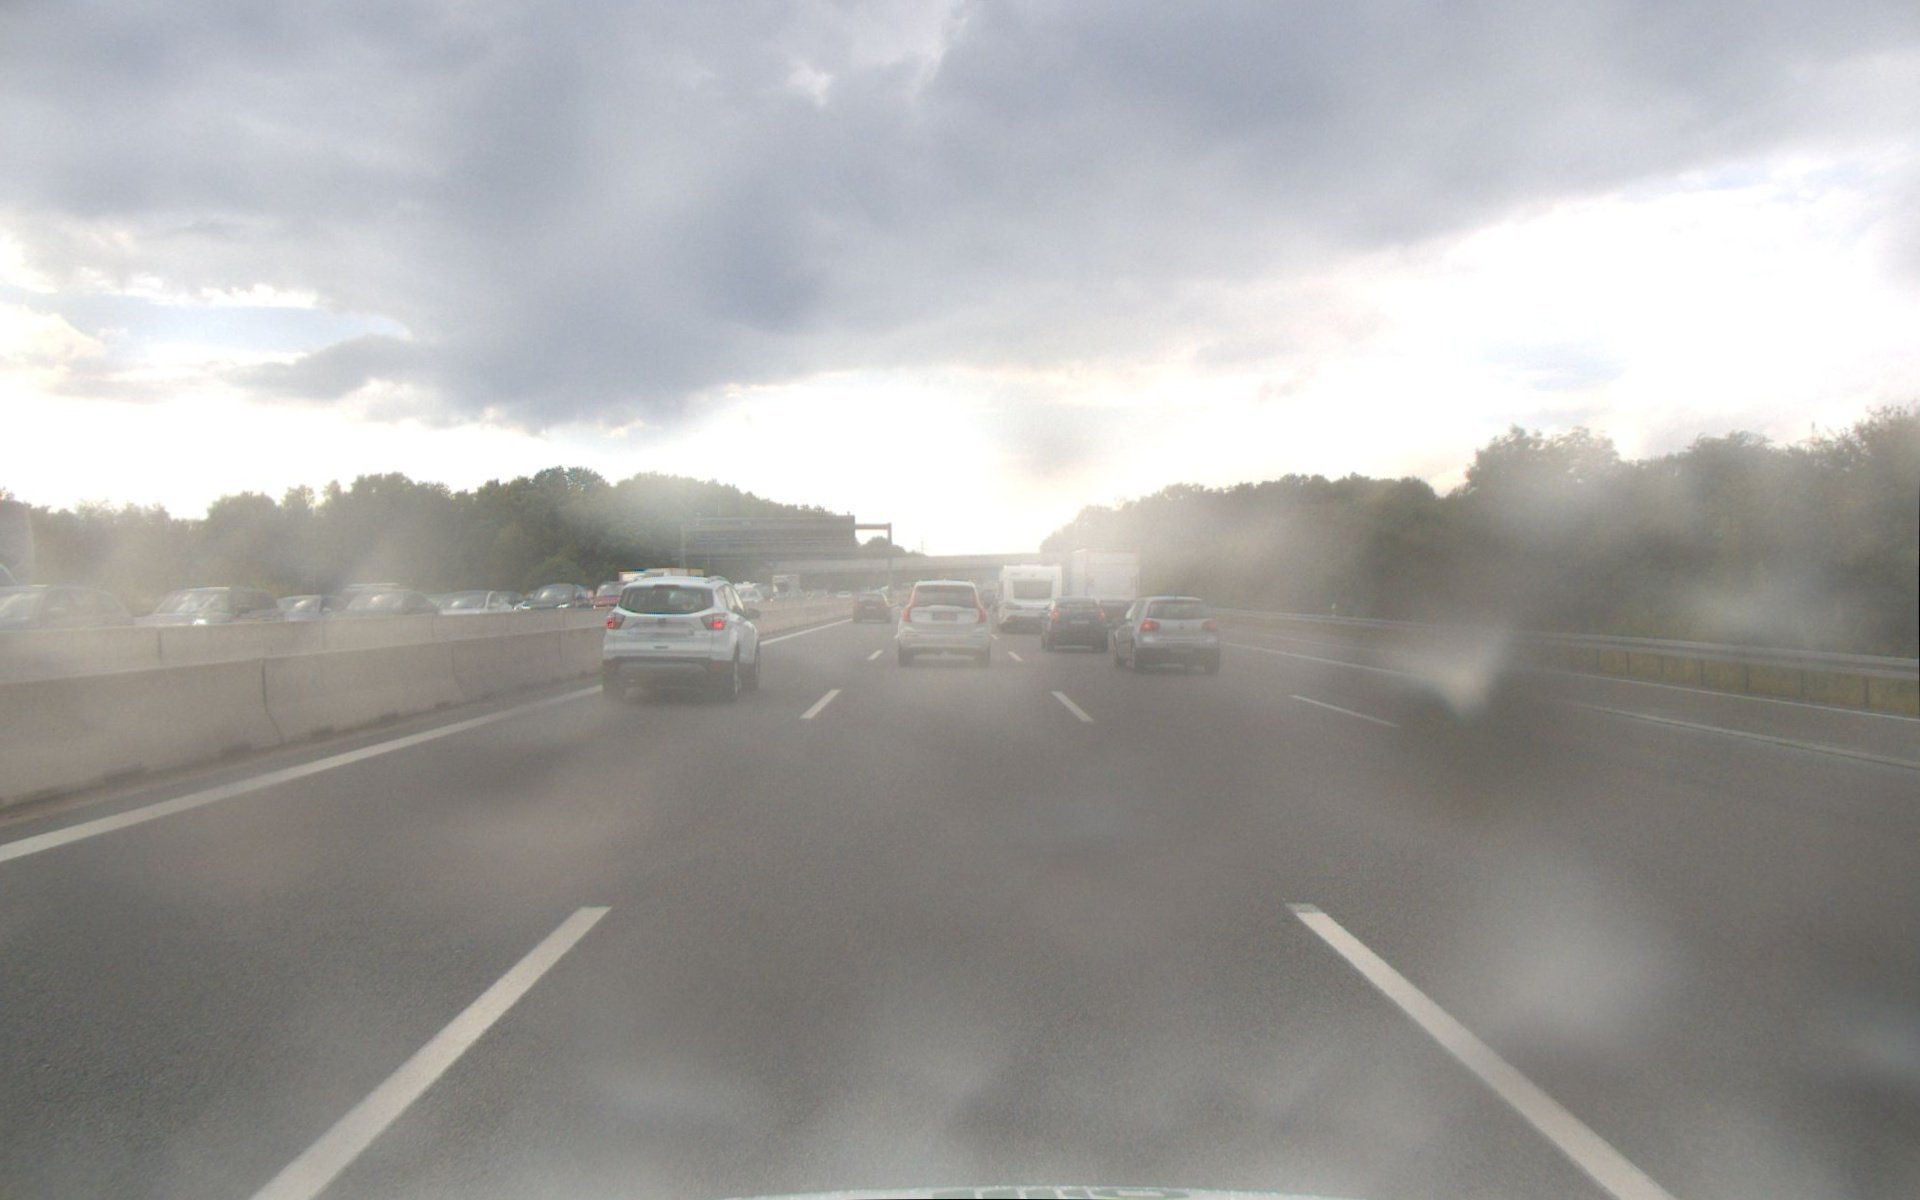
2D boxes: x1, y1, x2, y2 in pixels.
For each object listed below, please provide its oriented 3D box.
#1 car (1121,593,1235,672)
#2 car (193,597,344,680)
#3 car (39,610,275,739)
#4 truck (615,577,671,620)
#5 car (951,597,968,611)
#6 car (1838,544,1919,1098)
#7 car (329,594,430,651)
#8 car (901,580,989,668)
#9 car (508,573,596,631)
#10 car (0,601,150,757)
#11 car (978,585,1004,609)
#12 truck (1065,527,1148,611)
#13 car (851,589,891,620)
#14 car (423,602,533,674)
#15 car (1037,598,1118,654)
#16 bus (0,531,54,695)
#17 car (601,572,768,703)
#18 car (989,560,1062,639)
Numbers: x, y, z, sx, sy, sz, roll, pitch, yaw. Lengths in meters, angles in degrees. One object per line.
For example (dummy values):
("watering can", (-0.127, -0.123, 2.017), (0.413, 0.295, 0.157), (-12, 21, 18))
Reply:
("car", (4.377, 0.609, 33.723), (1.759, 1.503, 4.037), (1, 0, 0))
("car", (-17.849, 0.941, 42.936), (1.953, 2.001, 4.696), (1, 0, -1))
("car", (-14.198, 1.243, 29.590), (1.953, 2.049, 4.696), (1, 0, -1))
("truck", (-25.873, -0.125, 135.417), (2.850, 3.348, 9.201), (0, 0, 0))
("car", (-0.068, 0.501, 202.601), (1.843, 1.715, 3.998), (1, 0, -3))
("car", (3.769, 0.668, 3.066), (1.745, 1.641, 4.596), (1, 0, -2))
("car", (-21.810, 0.790, 62.322), (1.952, 2.049, 4.828), (1, 0, 2))
("car", (-0.331, 0.478, 35.362), (1.744, 1.746, 4.352), (1, 0, -1))
("car", (-14.990, 0.064, 61.088), (1.953, 2.049, 5.418), (1, 0, -1))
("car", (-13.533, 1.034, 23.297), (1.953, 2.001, 4.696), (1, 0, -1))
("car", (2.448, -0.261, 131.647), (2.001, 1.855, 4.904), (1, 0, 1))
("truck", (6.893, -1.404, 79.345), (3.069, 3.774, 9.846), (0, 0, 0))
("car", (-4.418, 0.198, 82.682), (1.744, 1.507, 4.353), (1, 0, 0))
("car", (-14.655, 1.111, 50.575), (1.953, 2.049, 4.971), (1, 0, -1))
("car", (3.171, 0.684, 45.462), (1.846, 1.431, 4.281), (1, 0, -1))
("bus", (-21.405, 0.286, 29.730), (2.632, 3.444, 13.996), (0, 0, 0))
("car", (-3.874, 0.466, 24.037), (1.778, 1.719, 4.850), (0, 1, -2))
("car", (2.532, -0.045, 66.029), (2.515, 2.946, 7.532), (0, 0, -1))
